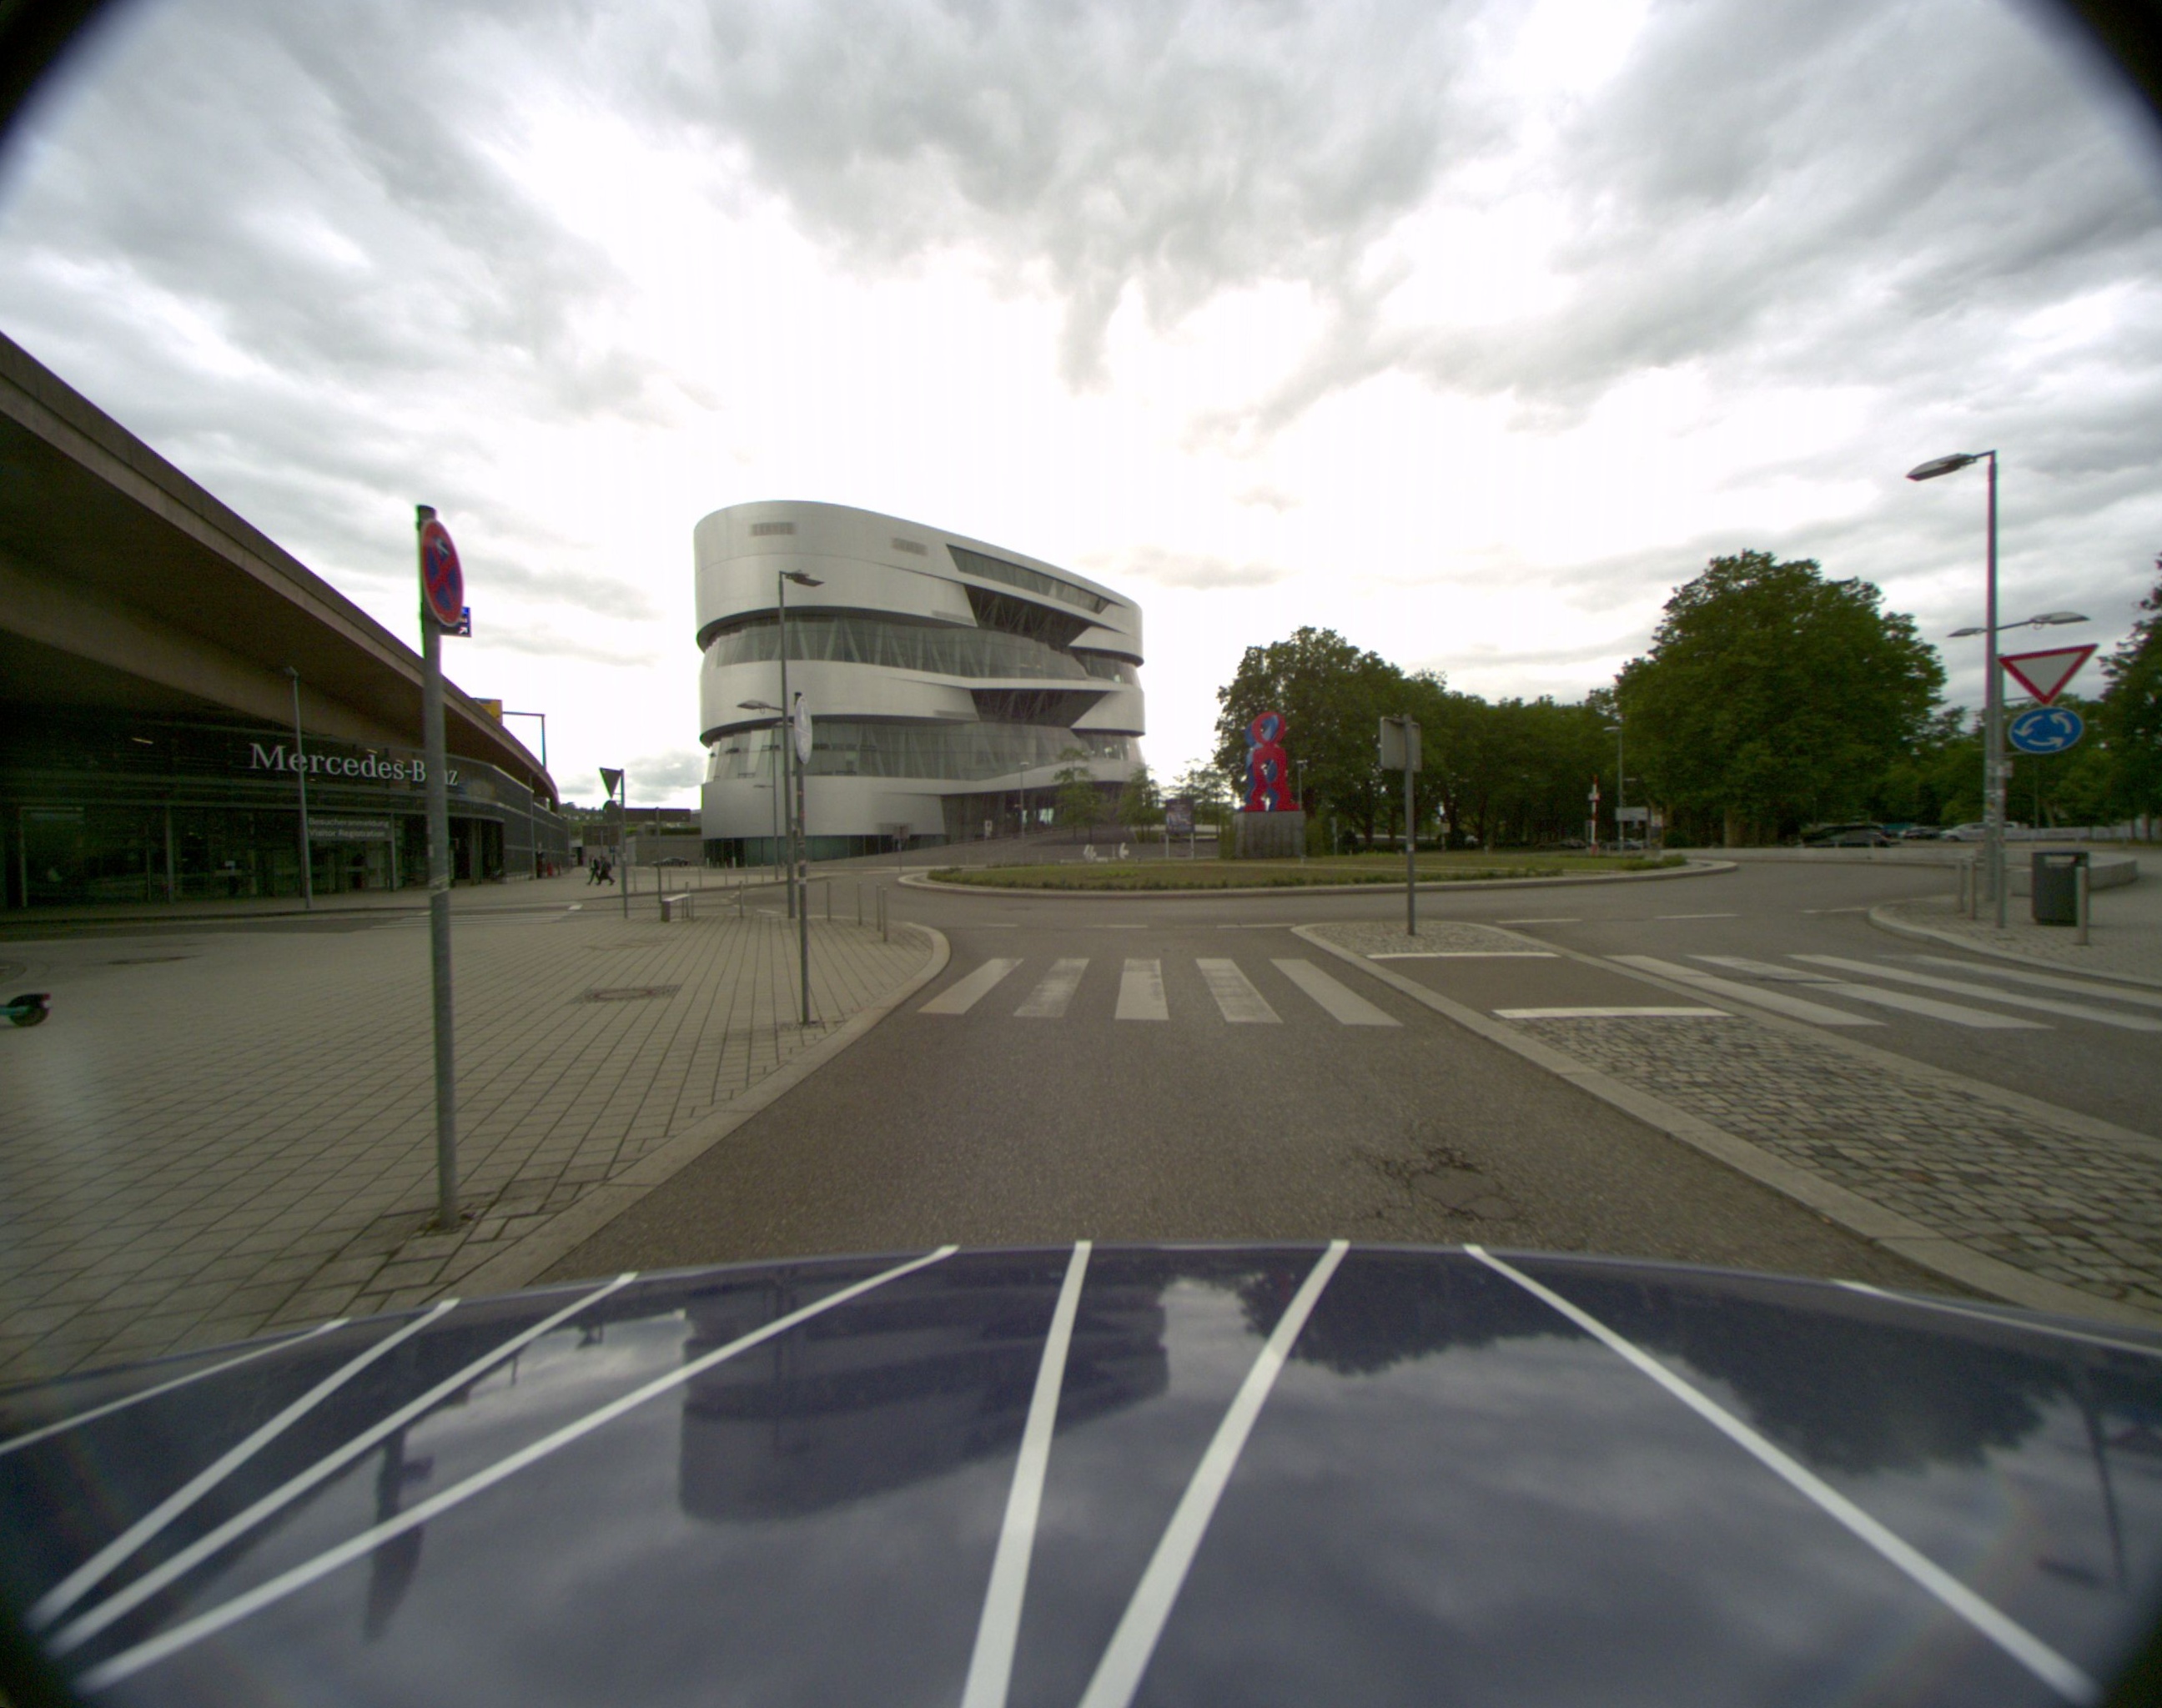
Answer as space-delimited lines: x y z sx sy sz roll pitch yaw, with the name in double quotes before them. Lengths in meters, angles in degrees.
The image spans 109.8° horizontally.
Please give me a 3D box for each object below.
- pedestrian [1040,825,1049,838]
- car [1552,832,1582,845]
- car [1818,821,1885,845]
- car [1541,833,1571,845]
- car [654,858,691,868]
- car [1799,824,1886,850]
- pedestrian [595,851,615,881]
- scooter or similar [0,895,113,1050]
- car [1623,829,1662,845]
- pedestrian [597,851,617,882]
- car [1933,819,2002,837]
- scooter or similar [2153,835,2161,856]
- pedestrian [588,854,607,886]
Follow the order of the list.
"pedestrian" -5.667 -3.452 117.537 0.954 1.914 0.850 -7 4 -44
"car" 73.078 -2.293 114.337 1.691 1.838 3.440 -3 2 -38
"car" 61.583 -1.669 60.831 3.701 1.767 1.674 -2 0 45
"car" 69.601 -2.171 111.293 3.440 1.675 1.691 -1 2 41
"car" -62.794 1.372 116.903 4.915 1.390 1.531 -1 0 -32
"car" 48.165 -1.047 48.161 3.815 1.516 1.783 -2 0 42
"pedestrian" -27.026 0.690 43.152 0.774 1.695 0.785 -1 0 -44
"scooter or similar" -9.691 1.023 6.626 1.649 1.288 0.518 0 0 -7
"car" 69.482 -2.087 94.012 3.701 1.767 1.674 -2 0 45
"pedestrian" -26.431 0.688 42.401 0.774 1.695 0.863 -1 0 -42
"car" 92.113 -2.637 79.014 4.424 1.642 1.800 -2 0 41
"scooter or similar" 55.964 -0.469 38.490 1.804 1.088 0.547 -2 0 41
"pedestrian" -27.841 0.913 43.720 0.784 1.788 0.863 -1 0 -41
